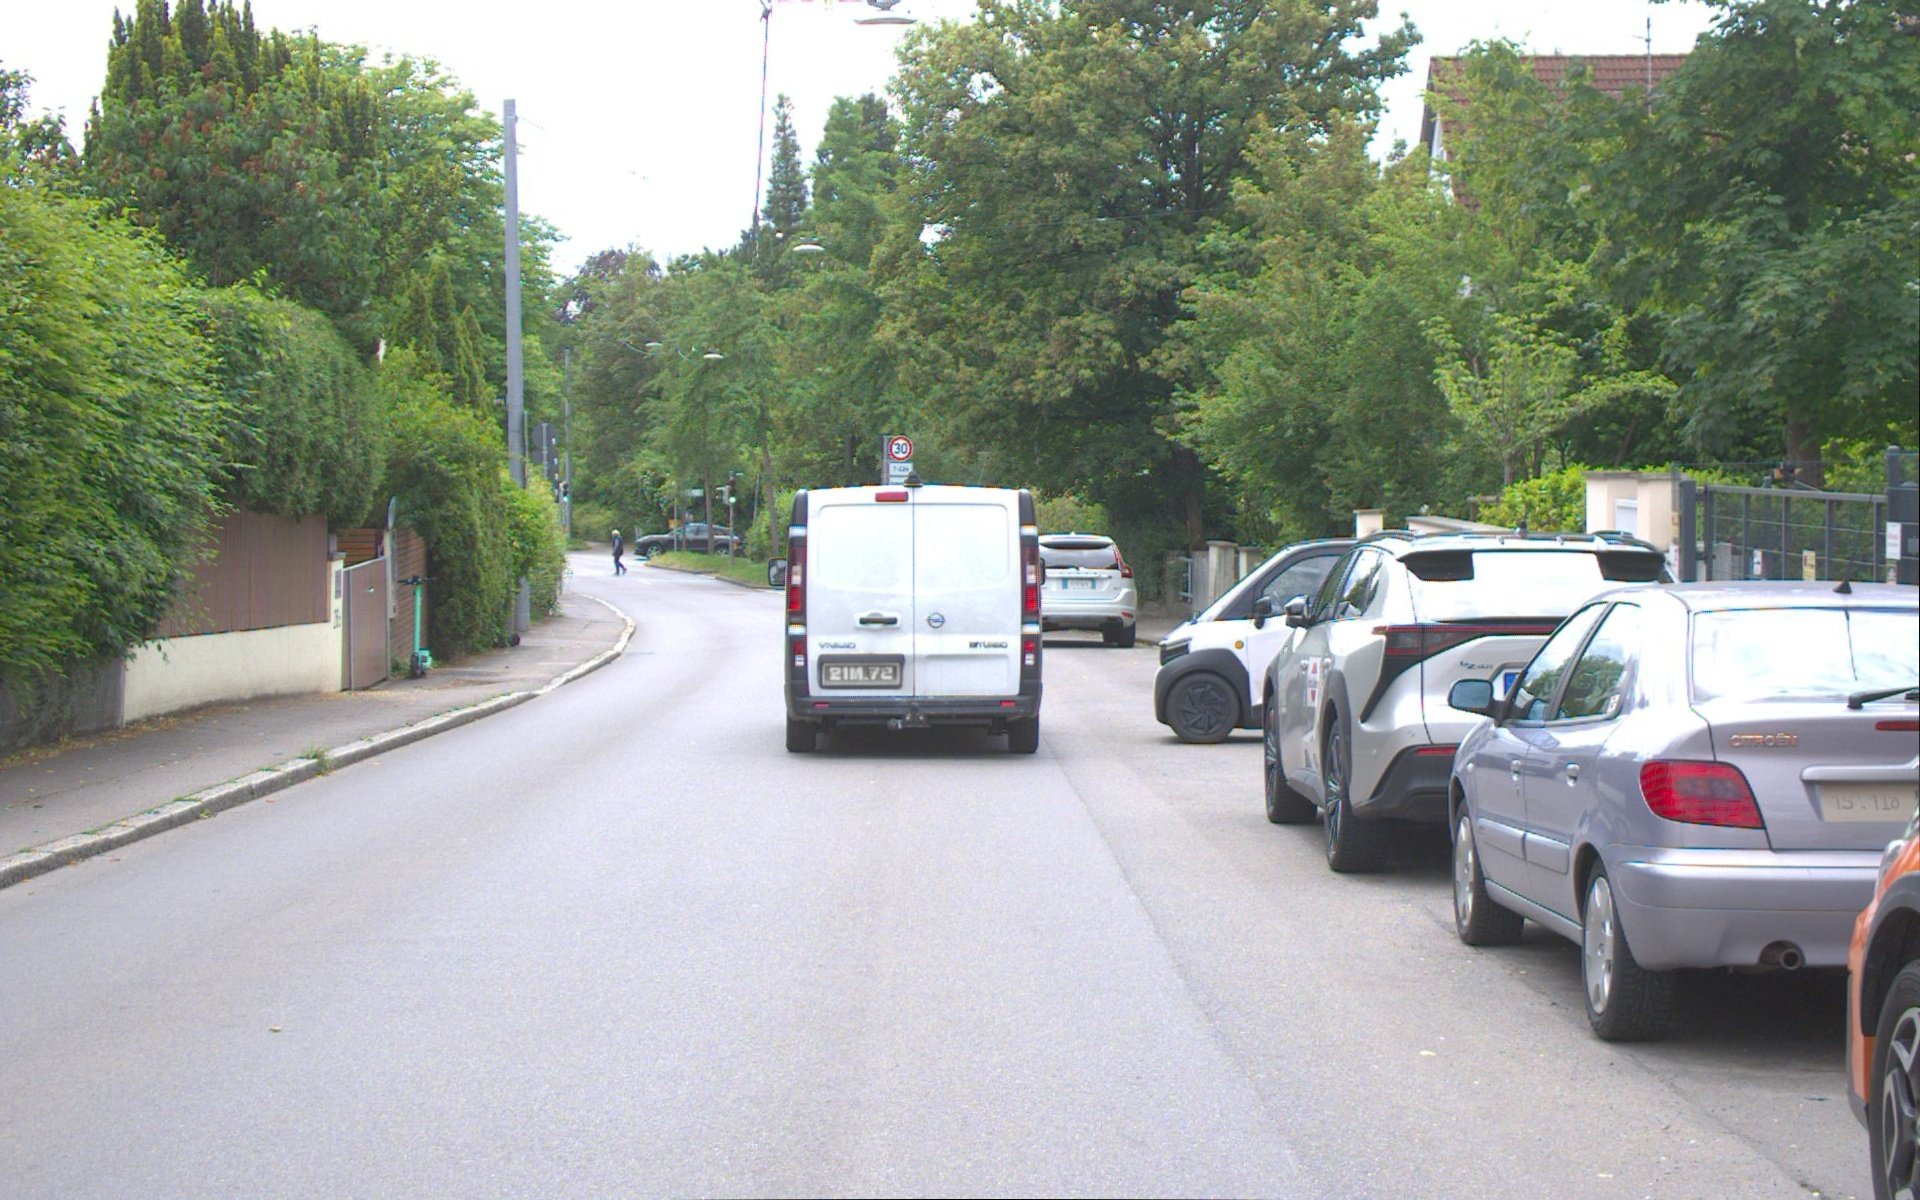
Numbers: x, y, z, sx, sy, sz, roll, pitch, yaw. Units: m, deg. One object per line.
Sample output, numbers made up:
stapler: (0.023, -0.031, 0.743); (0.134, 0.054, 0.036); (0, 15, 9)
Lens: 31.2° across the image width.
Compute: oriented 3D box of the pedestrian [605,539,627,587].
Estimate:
pedestrian: (-11.719, -1.264, 117.085); (0.697, 1.610, 0.715); (0, 3, -7)

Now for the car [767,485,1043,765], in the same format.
car: (-0.469, 0.104, 26.345); (1.930, 1.957, 4.402); (0, 2, -2)

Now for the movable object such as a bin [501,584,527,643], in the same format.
movable object such as a bin: (-6.826, 0.203, 52.631); (0.336, 0.890, 0.476); (0, 1, 0)

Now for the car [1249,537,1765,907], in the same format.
car: (2.588, 0.497, 17.322); (1.829, 1.618, 4.492); (0, 1, -1)

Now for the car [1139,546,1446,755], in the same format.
car: (2.558, 0.377, 26.632); (2.287, 1.518, 1.318); (-1, 2, 4)

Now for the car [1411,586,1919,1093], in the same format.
car: (2.723, 0.673, 11.897); (1.716, 1.377, 4.236); (0, 1, -1)

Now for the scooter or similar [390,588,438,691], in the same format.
scooter or similar: (-6.397, 0.449, 40.320); (0.391, 1.167, 1.270); (0, 1, -2)

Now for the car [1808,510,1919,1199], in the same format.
car: (2.865, 0.663, 5.521); (1.850, 1.621, 4.170); (1, 1, -2)

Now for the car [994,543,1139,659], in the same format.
car: (1.587, -0.021, 52.628); (1.865, 1.679, 4.351); (0, 1, -3)

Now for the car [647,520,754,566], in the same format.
car: (-10.764, -2.386, 142.529); (4.389, 1.853, 1.903); (0, 2, -4)

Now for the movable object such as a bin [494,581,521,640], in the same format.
movable object such as a bin: (-6.840, 0.157, 51.967); (0.336, 0.890, 0.476); (0, 1, 1)
